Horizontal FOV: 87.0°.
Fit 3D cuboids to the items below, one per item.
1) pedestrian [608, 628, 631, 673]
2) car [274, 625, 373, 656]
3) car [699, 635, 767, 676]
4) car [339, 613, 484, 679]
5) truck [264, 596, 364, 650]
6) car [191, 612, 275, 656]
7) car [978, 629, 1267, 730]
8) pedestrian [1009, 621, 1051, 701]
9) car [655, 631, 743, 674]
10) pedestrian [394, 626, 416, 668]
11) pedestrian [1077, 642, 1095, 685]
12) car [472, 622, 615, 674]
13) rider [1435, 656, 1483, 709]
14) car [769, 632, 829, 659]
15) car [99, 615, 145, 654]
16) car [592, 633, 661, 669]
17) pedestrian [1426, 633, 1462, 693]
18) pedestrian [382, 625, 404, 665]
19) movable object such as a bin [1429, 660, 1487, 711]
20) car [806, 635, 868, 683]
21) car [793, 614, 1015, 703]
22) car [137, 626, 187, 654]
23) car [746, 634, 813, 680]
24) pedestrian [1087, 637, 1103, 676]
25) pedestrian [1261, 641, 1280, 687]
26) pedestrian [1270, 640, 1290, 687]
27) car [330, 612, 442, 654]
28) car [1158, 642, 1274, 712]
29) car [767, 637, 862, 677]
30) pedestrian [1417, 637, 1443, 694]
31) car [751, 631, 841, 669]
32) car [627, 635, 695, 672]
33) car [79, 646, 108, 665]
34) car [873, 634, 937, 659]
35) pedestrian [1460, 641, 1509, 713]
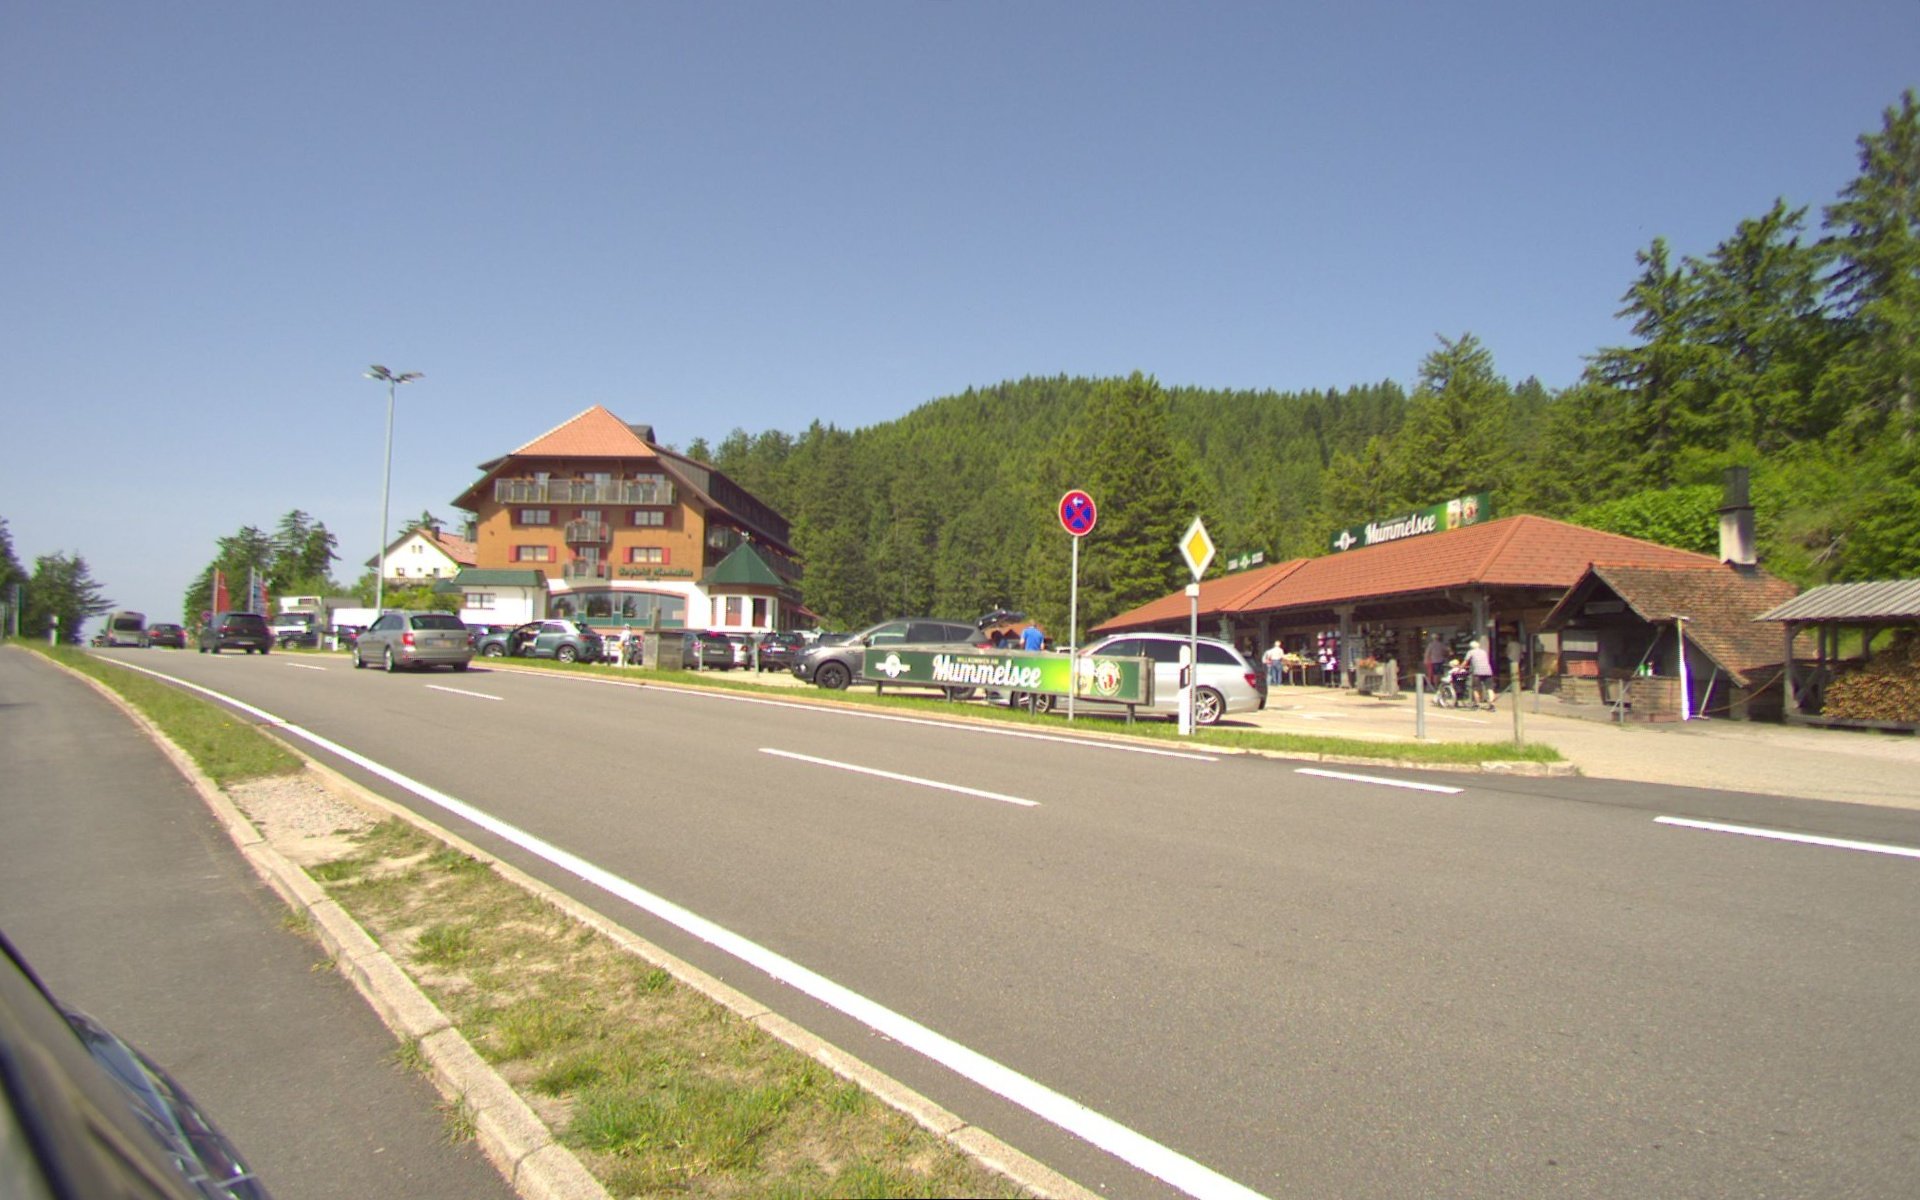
[{"bbox_3d":[-12.822,1.899,38.151,0.734,1.637,0.685,2,-2,-15],"label":"pedestrian"},{"bbox_3d":[-34.055,2.177,54.255,4.031,1.539,1.826,2,-3,-6],"label":"car"},{"bbox_3d":[-9.178,2.236,41.240,1.798,1.524,4.094,2,-3,0],"label":"car"},{"bbox_3d":[-13.615,1.062,24.999,4.716,1.485,1.858,-1,-2,45],"label":"car"},{"bbox_3d":[-48.600,1.789,76.479,2.838,3.850,9.032,0,-2,-8],"label":"truck"},{"bbox_3d":[-28.936,1.345,40.236,1.971,1.660,4.569,4,-3,-45],"label":"car"},{"bbox_3d":[2.585,1.280,16.758,4.438,1.441,1.722,2,-3,-1],"label":"car"},{"bbox_3d":[1.477,1.282,21.522,0.735,1.648,0.848,2,-2,-5],"label":"pedestrian"},{"bbox_3d":[-9.533,1.886,36.776,1.694,1.441,4.009,4,-3,-36],"label":"car"},{"bbox_3d":[-27.074,2.292,49.371,0.803,2.029,0.707,-1,-3,43],"label":"pedestrian"},{"bbox_3d":[6.071,3.045,48.930,0.682,2.029,0.753,1,-2,-5],"label":"pedestrian"},{"bbox_3d":[-14.542,1.673,35.494,4.209,1.641,1.825,2,-3,-2],"label":"car"},{"bbox_3d":[12.589,2.063,25.550,0.829,1.284,0.907,1,-2,8],"label":"rider"},{"bbox_3d":[-11.576,3.277,73.026,4.036,1.729,1.921,2,-3,-1],"label":"car"},{"bbox_3d":[-61.236,2.491,73.913,1.988,2.772,5.920,4,-3,-45],"label":"car"},{"bbox_3d":[-15.517,2.359,47.275,1.798,1.524,4.094,2,-3,0],"label":"car"},{"bbox_3d":[14.575,1.885,30.479,0.740,1.750,0.801,1,-2,8],"label":"pedestrian"},{"bbox_3d":[-28.736,2.283,51.324,0.803,2.029,0.707,-1,-3,43],"label":"pedestrian"},{"bbox_3d":[12.610,2.146,25.641,0.972,1.198,1.214,1,-2,8],"label":"movable object such as a bin"},{"bbox_3d":[-4.565,2.200,38.077,1.798,1.641,4.094,2,-3,0],"label":"car"},{"bbox_3d":[-1.198,1.235,21.593,4.484,1.668,1.723,2,-3,-3],"label":"car"},{"bbox_3d":[-45.839,2.287,58.099,4.451,1.449,1.687,-1,-3,44],"label":"car"},{"bbox_3d":[-6.951,2.185,39.345,1.798,1.641,4.094,2,-3,0],"label":"car"},{"bbox_3d":[7.264,3.034,54.494,0.682,2.029,0.753,1,-2,-5],"label":"pedestrian"},{"bbox_3d":[11.525,2.372,37.519,0.500,1.668,0.472,1,-2,-10],"label":"pedestrian"},{"bbox_3d":[11.694,2.317,36.970,0.500,1.668,0.472,1,-2,-10],"label":"pedestrian"},{"bbox_3d":[-41.470,2.405,73.380,6.845,2.812,2.675,3,-3,-27],"label":"car"},{"bbox_3d":[6.593,1.953,26.532,1.972,1.541,3.999,3,-2,0],"label":"car"},{"bbox_3d":[-6.472,2.534,45.384,4.035,1.641,1.825,2,-3,-2],"label":"car"},{"bbox_3d":[14.559,2.019,31.329,0.555,1.750,0.663,-1,-3,42],"label":"pedestrian"},{"bbox_3d":[-7.753,2.356,48.171,4.035,1.641,1.825,2,-3,-2],"label":"car"},{"bbox_3d":[-13.449,2.401,45.718,1.798,1.524,4.094,2,-3,0],"label":"car"},{"bbox_3d":[-82.716,5.259,96.583,1.697,1.695,4.132,3,-3,-45],"label":"car"},{"bbox_3d":[-4.222,3.591,78.130,4.777,1.729,1.920,2,-3,-1],"label":"car"},{"bbox_3d":[12.725,1.851,24.566,0.829,1.712,0.801,1,-2,8],"label":"pedestrian"}]
